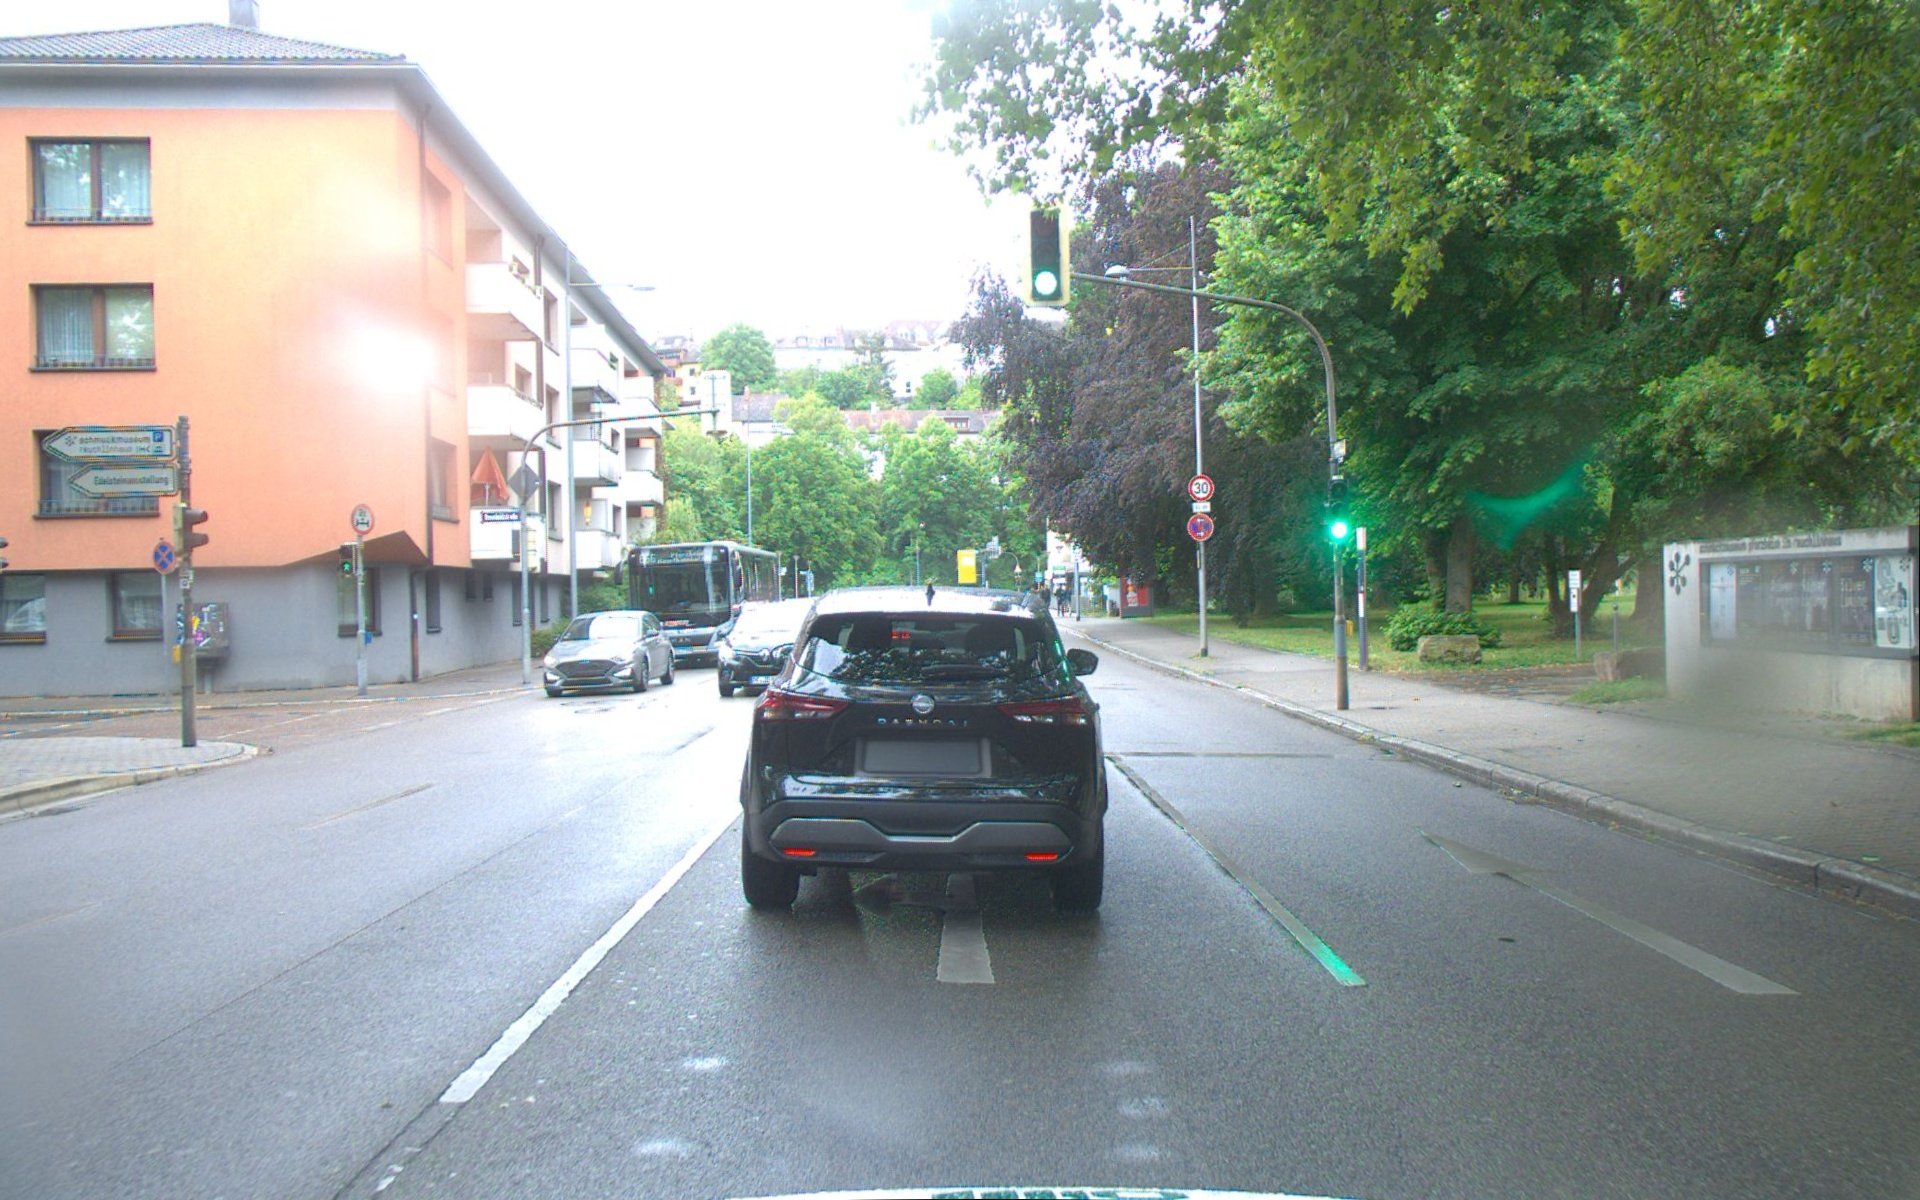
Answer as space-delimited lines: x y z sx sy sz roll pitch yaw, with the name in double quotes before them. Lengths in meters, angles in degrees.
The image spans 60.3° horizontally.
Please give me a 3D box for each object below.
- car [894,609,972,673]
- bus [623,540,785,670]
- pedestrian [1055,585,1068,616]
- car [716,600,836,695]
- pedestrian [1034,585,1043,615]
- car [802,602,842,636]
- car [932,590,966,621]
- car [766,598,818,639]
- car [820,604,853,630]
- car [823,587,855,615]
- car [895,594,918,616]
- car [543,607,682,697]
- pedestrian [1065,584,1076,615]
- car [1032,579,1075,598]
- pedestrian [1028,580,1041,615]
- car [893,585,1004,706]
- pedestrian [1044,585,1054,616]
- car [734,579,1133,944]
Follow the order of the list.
"car" -0.687 0.957 40.059 1.772 1.442 4.029 0 0 -2
"bus" -6.719 0.132 45.281 2.710 3.026 11.779 -2 0 -1
"pedestrian" 5.690 0.037 92.647 0.685 1.680 0.628 1 -1 0
"car" -3.035 0.751 27.843 1.591 1.439 3.454 -2 0 0
"pedestrian" 4.361 0.012 92.323 0.465 1.680 0.490 1 -1 0
"car" -6.731 0.912 80.955 1.643 1.495 4.215 -3 0 -2
"car" -0.527 0.279 82.293 1.591 1.439 3.454 -2 0 0
"car" -6.740 0.719 66.686 1.712 1.495 4.215 -3 0 -2
"car" -6.795 0.916 91.245 1.643 1.318 3.750 -3 0 -2
"car" -7.543 0.071 103.585 1.714 1.662 3.634 -2 0 0
"car" -4.498 0.428 139.414 1.728 1.788 3.634 -2 0 0
"car" -6.353 0.908 30.627 1.772 1.441 4.029 -3 0 -2
"pedestrian" 6.063 -0.047 90.618 0.504 1.684 0.550 1 -1 -1
"car" 9.238 -1.177 163.560 3.916 1.713 1.995 -2 0 -11
"pedestrian" 4.646 -0.149 103.395 0.752 2.222 0.711 1 -1 2
"car" -0.141 0.672 26.520 1.588 1.738 3.771 -2 0 1
"pedestrian" 4.964 0.023 92.473 0.533 1.680 0.490 1 -1 0
"car" -0.141 0.745 9.434 1.769 1.618 3.999 1 -1 -1
